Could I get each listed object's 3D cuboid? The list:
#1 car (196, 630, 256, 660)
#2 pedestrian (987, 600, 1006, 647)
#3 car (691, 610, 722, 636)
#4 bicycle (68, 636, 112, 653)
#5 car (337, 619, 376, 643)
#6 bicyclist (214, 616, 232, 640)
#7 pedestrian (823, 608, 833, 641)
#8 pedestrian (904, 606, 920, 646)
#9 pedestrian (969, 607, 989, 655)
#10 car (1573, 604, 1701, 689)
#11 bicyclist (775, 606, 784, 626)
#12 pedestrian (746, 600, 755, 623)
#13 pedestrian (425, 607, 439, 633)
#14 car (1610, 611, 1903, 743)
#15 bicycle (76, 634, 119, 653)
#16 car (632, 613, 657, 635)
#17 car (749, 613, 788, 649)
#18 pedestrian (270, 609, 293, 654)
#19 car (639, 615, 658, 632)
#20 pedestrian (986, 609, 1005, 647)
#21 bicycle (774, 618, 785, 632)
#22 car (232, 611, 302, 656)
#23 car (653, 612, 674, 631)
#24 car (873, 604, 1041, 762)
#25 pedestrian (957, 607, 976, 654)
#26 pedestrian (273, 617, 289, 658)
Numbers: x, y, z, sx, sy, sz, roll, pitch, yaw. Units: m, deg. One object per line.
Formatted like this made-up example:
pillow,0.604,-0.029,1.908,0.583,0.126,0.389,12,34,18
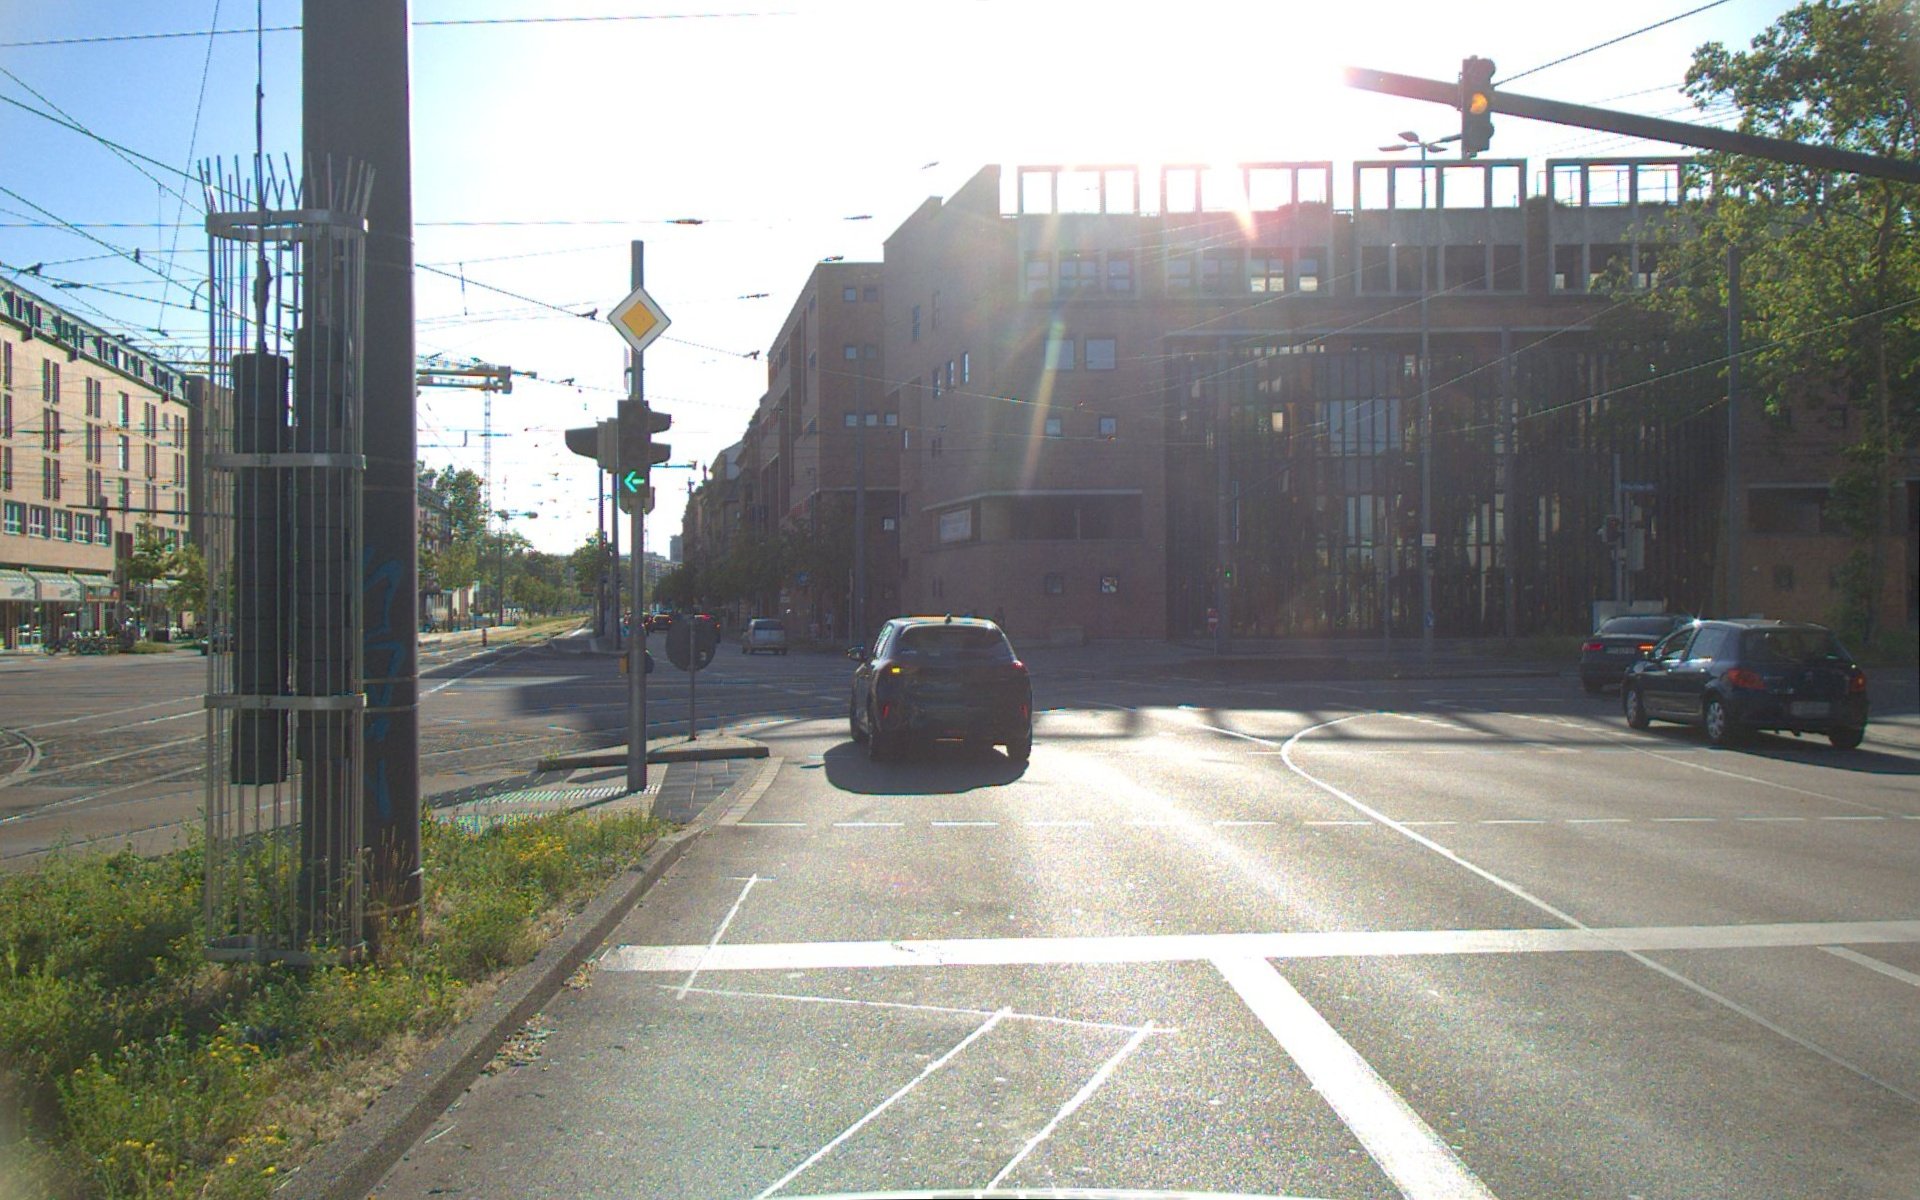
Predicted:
car,-34.822,2.116,78.555,1.808,1.290,4.215,-2,0,-13
pedestrian,1.424,0.921,65.220,0.563,1.817,0.546,-1,0,-19
car,-15.054,1.364,98.279,1.641,1.479,3.687,-1,0,-11
bicycle,-45.888,2.330,87.232,1.992,0.860,0.483,-1,0,-1
car,-40.048,2.072,109.887,1.807,1.473,4.284,-2,0,-13
bicyclist,-44.360,1.692,99.502,0.796,1.401,0.922,-1,0,-13
pedestrian,-7.435,1.401,93.289,0.537,1.817,0.572,0,2,-9
pedestrian,-2.231,1.187,76.675,0.628,1.817,0.687,-1,0,-9
pedestrian,0.734,1.181,63.427,0.563,1.817,0.546,-1,0,-19
car,12.532,0.828,30.489,1.663,1.465,4.011,0,-1,30
bicyclist,-12.663,1.141,116.010,0.634,1.363,0.651,-1,-1,-10
pedestrian,-16.737,0.923,132.220,0.628,1.817,0.687,-1,0,-9
pedestrian,-35.288,1.352,110.515,0.849,1.699,0.779,0,0,-22
car,9.995,0.902,21.117,1.823,1.500,3.977,-1,0,0
bicycle,-46.206,2.318,88.587,1.992,0.937,0.483,-1,0,-1
car,-22.651,1.690,118.580,1.690,1.479,3.687,-1,0,-11
car,-8.137,1.293,69.993,1.531,1.481,3.425,-1,0,-8
pedestrian,-26.519,1.217,64.662,0.708,1.757,0.593,-1,0,-11
car,-28.803,2.164,153.078,1.690,1.479,3.687,-1,0,-11
pedestrian,1.408,1.126,66.142,0.541,1.503,0.568,-1,0,-29
bicycle,-12.647,1.753,115.977,0.636,0.920,2.340,0,0,-10
car,-30.724,1.474,73.447,1.805,1.868,4.099,-2,0,-8
car,-25.288,1.825,140.826,1.690,1.479,3.687,-1,0,-11
car,-0.051,0.823,18.122,1.638,1.528,3.690,1,0,-1
pedestrian,0.255,1.173,64.093,0.563,1.817,0.546,-1,0,-19
pedestrian,-27.384,1.509,66.666,0.573,1.604,0.641,0,-1,-25
